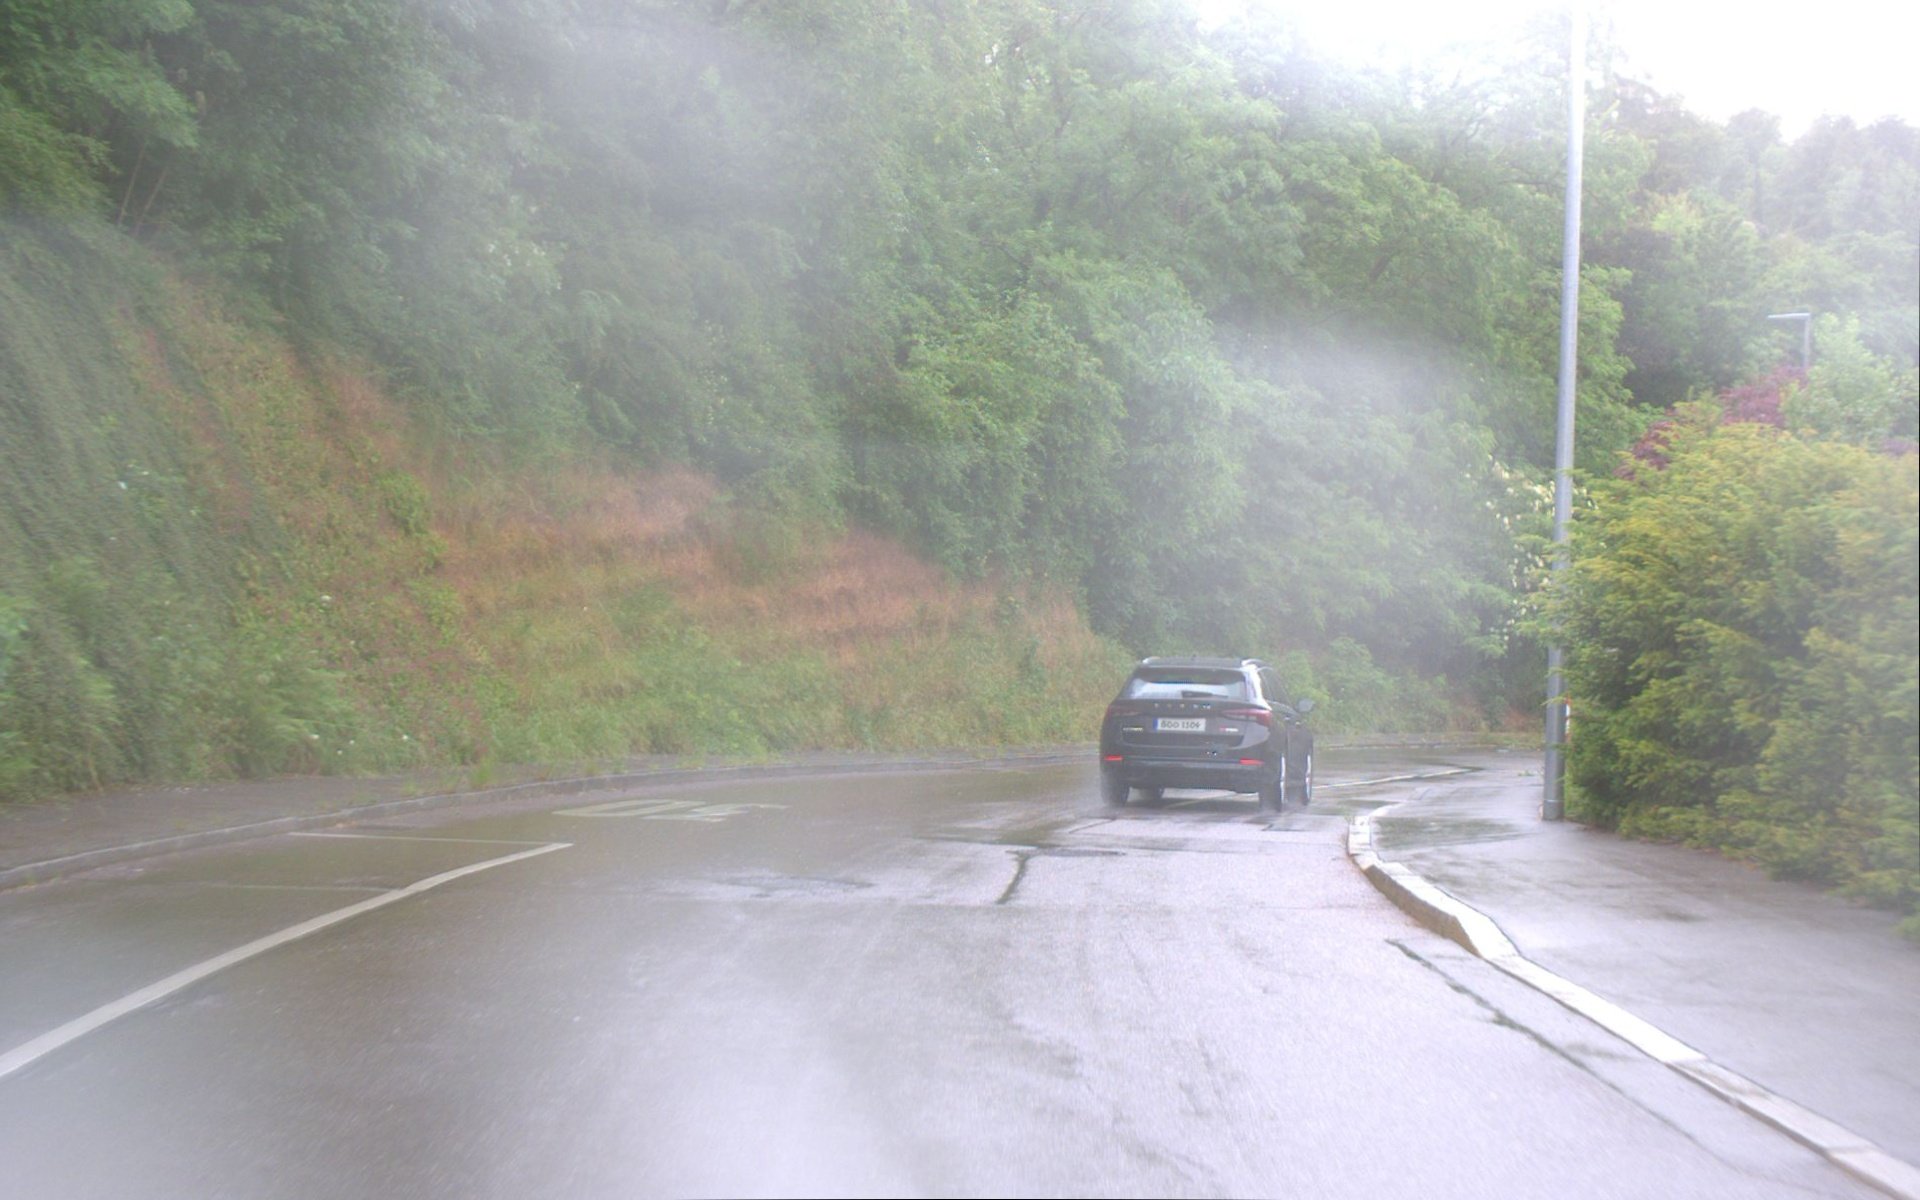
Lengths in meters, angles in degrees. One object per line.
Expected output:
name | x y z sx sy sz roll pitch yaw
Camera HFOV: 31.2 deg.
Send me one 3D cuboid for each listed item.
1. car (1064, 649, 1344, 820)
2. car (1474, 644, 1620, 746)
car | 2.476 1.296 33.883 1.870 1.507 4.089 2 -1 17
car | 11.448 1.812 66.823 1.996 1.599 4.405 2 3 20
